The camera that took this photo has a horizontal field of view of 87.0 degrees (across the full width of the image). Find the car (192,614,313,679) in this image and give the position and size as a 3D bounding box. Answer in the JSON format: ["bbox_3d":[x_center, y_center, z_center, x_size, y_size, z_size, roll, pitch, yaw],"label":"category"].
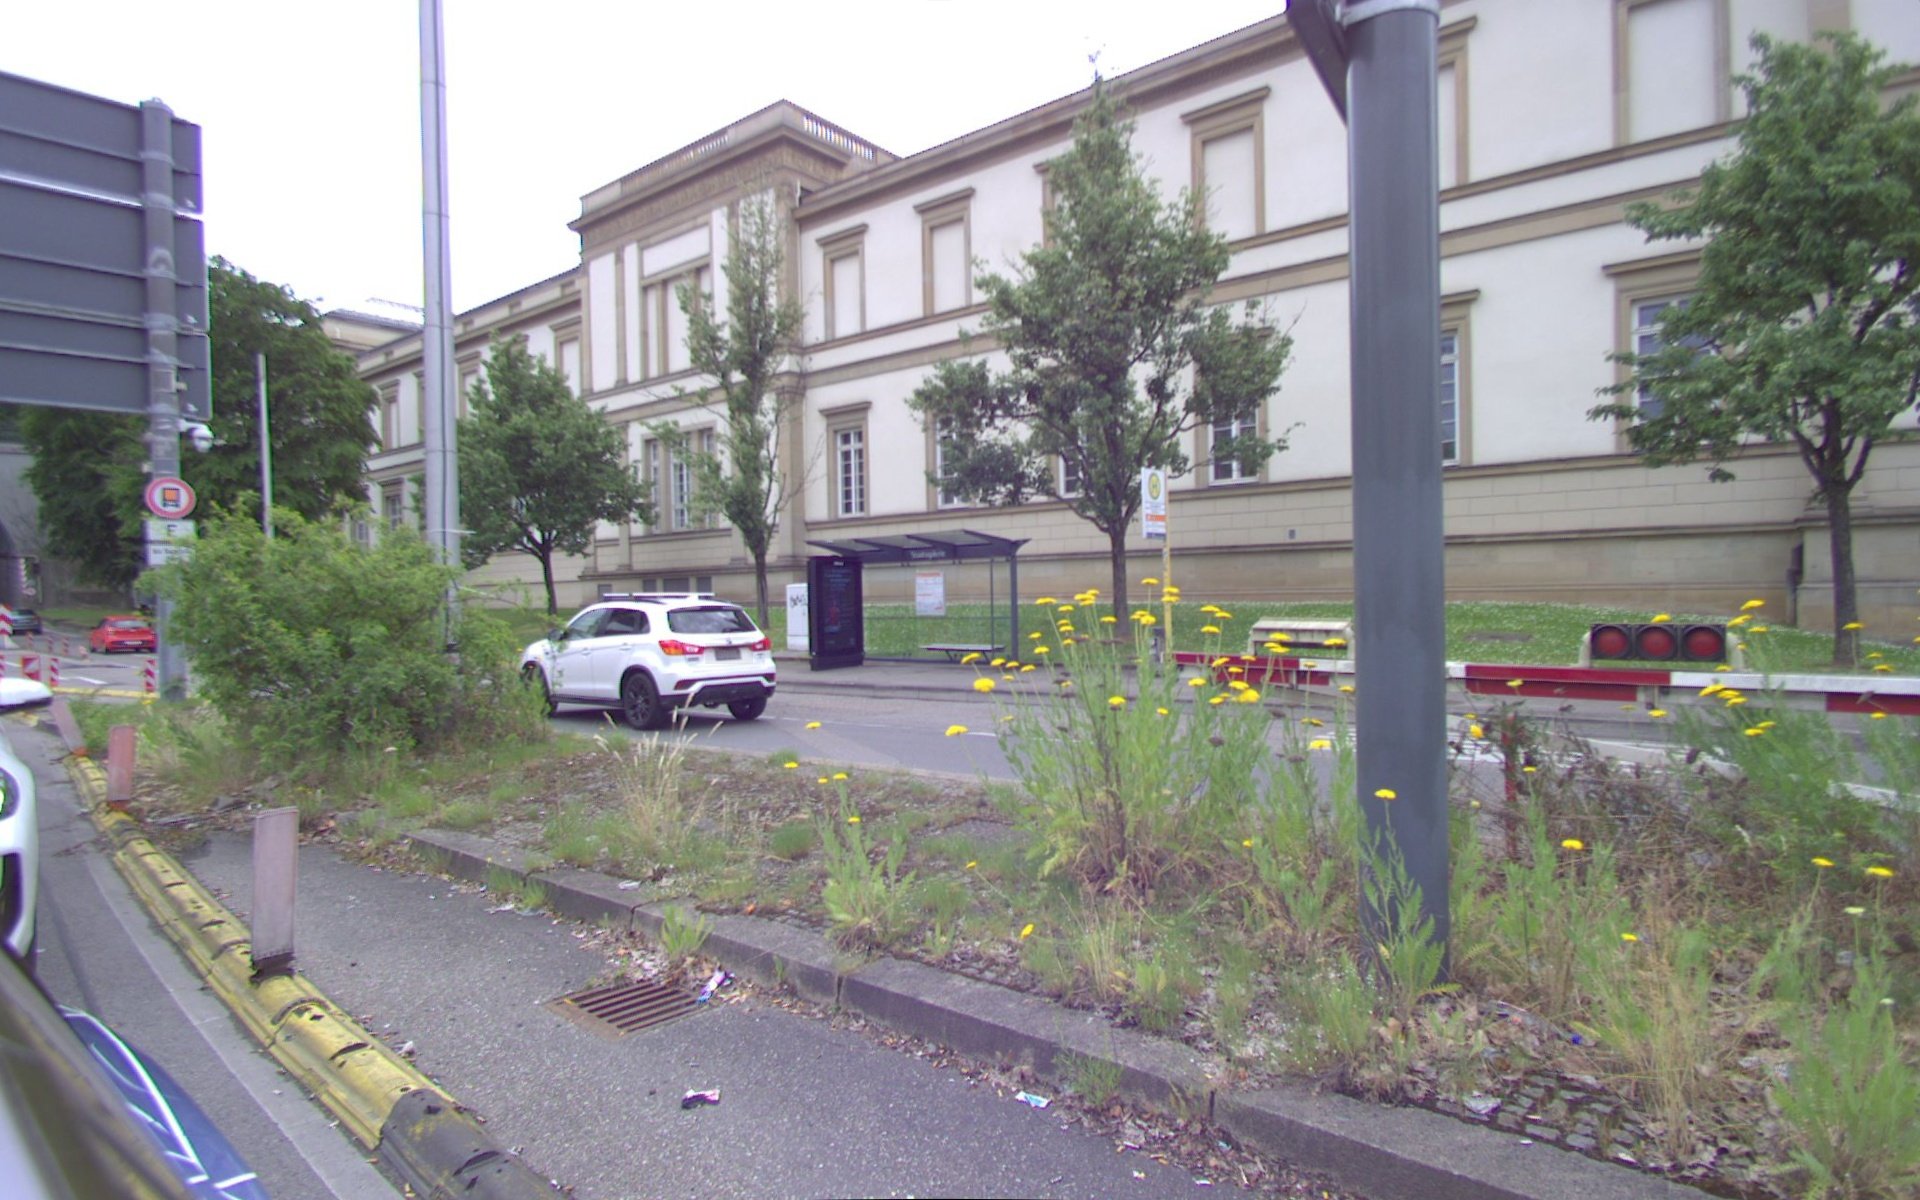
[{"bbox_3d":[-20.594,1.291,29.393,4.265,1.704,1.851,-1,0,40],"label":"car"}]

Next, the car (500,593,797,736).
[{"bbox_3d":[-4.295,0.788,13.666,4.104,1.637,1.880,-2,-1,40],"label":"car"}]

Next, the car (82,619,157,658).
[{"bbox_3d":[-33.752,1.525,40.617,3.570,1.489,1.626,-1,-1,39],"label":"car"}]

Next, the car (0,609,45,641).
[{"bbox_3d":[-49.962,1.309,53.541,3.800,1.630,1.756,-1,0,40],"label":"car"}]

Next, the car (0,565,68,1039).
[{"bbox_3d":[-5.221,0.722,4.098,3.668,1.637,1.962,-1,0,41],"label":"car"}]
